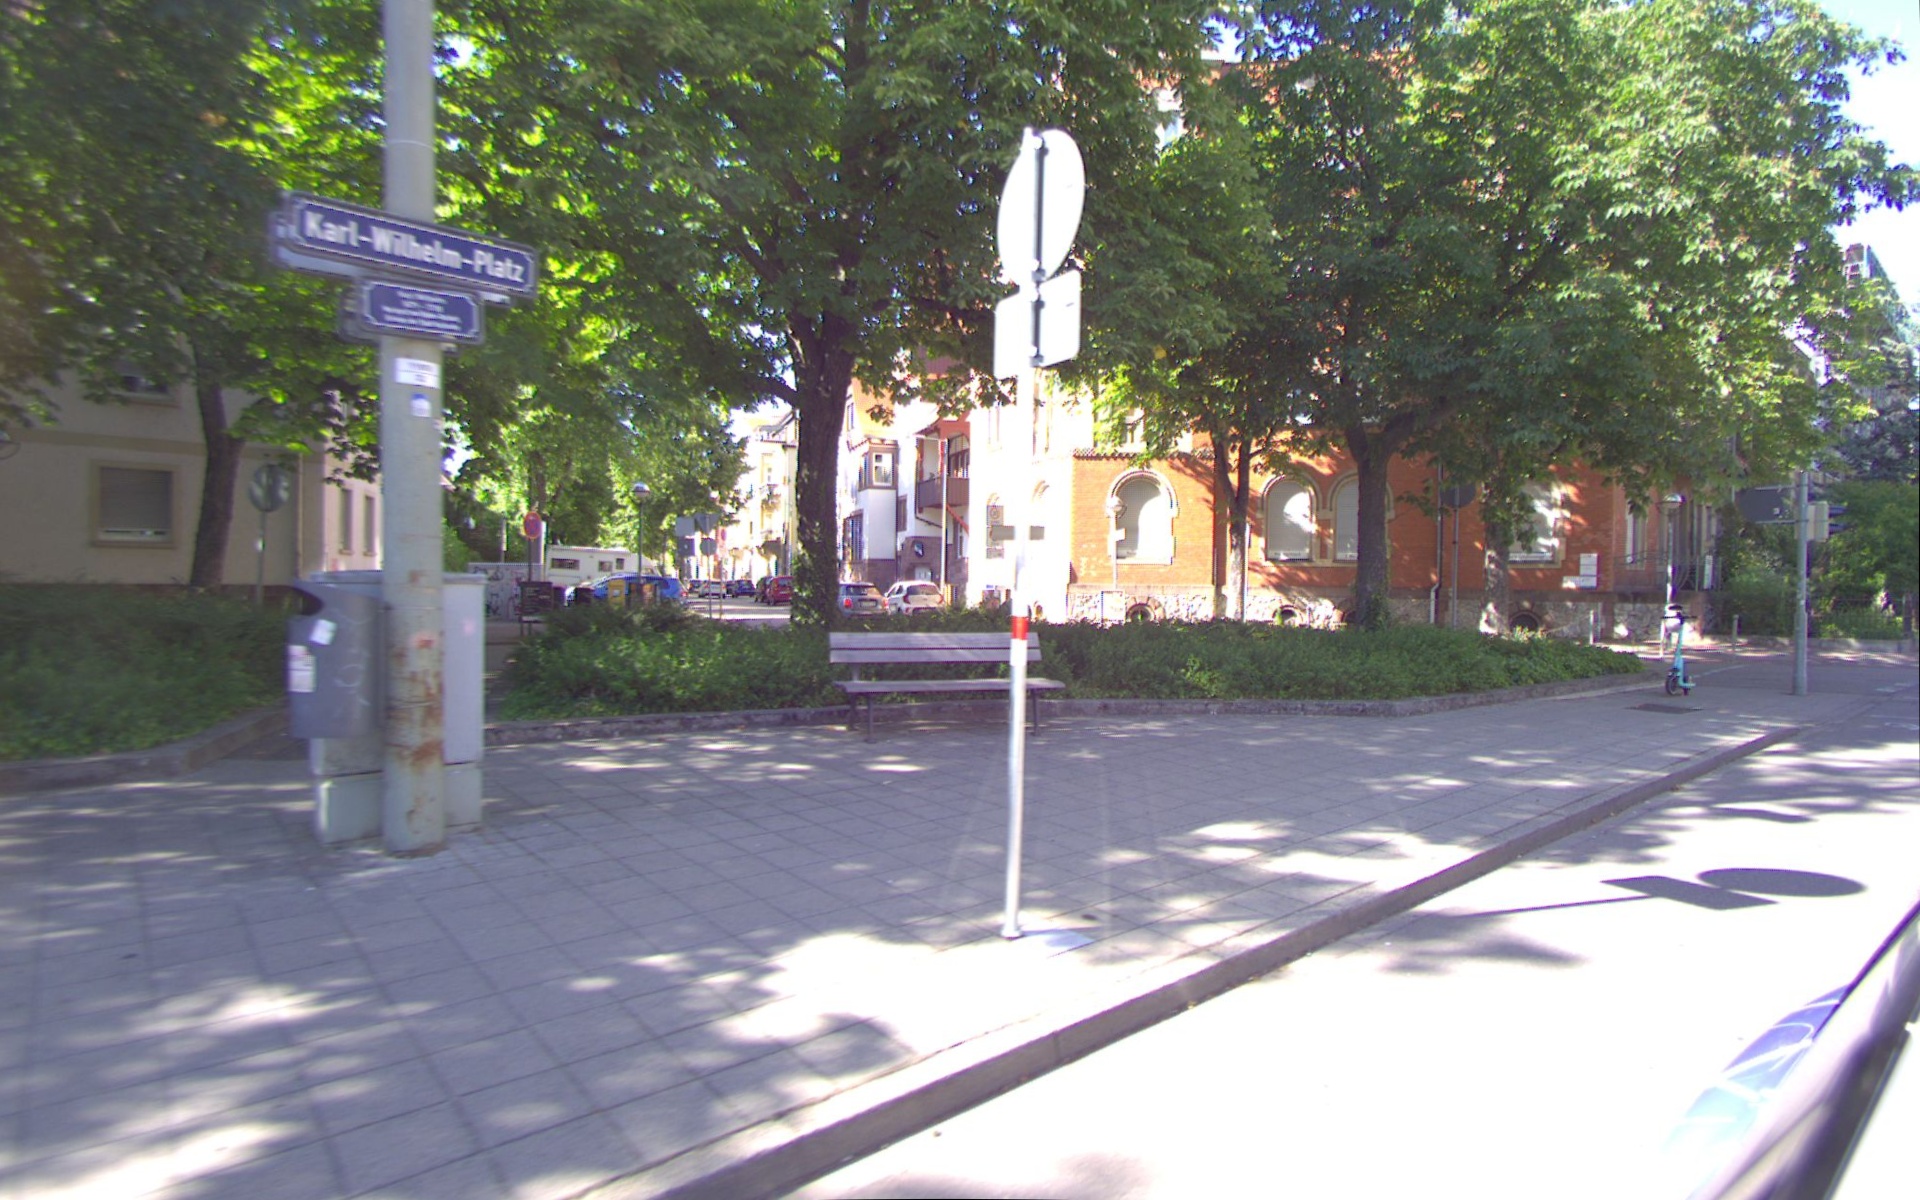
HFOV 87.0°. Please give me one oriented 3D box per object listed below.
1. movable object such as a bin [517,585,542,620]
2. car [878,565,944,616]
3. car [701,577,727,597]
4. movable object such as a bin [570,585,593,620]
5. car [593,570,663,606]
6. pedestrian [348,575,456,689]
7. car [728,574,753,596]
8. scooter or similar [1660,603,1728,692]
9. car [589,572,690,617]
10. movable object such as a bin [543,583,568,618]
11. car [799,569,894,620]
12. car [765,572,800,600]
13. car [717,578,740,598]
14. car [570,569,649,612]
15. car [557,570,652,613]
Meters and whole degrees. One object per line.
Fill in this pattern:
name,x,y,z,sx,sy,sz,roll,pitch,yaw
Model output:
movable object such as a bin,-12.026,0.063,28.272,0.532,0.977,0.644,0,0,-13
car,-1.799,-0.338,36.302,1.600,1.738,3.811,0,0,-15
car,-18.864,-0.998,77.498,1.600,1.488,3.535,0,0,-19
movable object such as a bin,-10.784,0.073,28.849,0.532,0.977,0.644,0,0,-13
car,-16.759,-0.586,51.106,3.278,1.757,1.502,0,0,-23
pedestrian,-6.409,0.349,11.629,1.022,1.247,0.450,0,0,-40
car,-17.887,-1.233,82.426,1.600,1.738,3.811,0,0,-19
scooter or similar,10.990,0.699,15.142,1.253,1.265,0.519,2,-1,-40
car,-11.298,-0.197,35.694,3.278,1.538,1.502,0,0,-23
movable object such as a bin,-11.438,0.010,28.619,0.570,0.977,0.644,0,0,-13
car,-3.560,-0.160,31.246,1.602,1.476,3.551,0,0,-30
car,-11.039,-0.848,62.845,1.600,1.738,3.811,0,0,-19
car,-20.602,-1.090,90.115,1.600,1.738,3.811,0,0,-19
car,-15.744,-0.438,45.475,3.278,1.856,1.502,0,0,-23
car,-13.300,-0.311,37.840,3.278,1.538,1.502,0,0,-23
